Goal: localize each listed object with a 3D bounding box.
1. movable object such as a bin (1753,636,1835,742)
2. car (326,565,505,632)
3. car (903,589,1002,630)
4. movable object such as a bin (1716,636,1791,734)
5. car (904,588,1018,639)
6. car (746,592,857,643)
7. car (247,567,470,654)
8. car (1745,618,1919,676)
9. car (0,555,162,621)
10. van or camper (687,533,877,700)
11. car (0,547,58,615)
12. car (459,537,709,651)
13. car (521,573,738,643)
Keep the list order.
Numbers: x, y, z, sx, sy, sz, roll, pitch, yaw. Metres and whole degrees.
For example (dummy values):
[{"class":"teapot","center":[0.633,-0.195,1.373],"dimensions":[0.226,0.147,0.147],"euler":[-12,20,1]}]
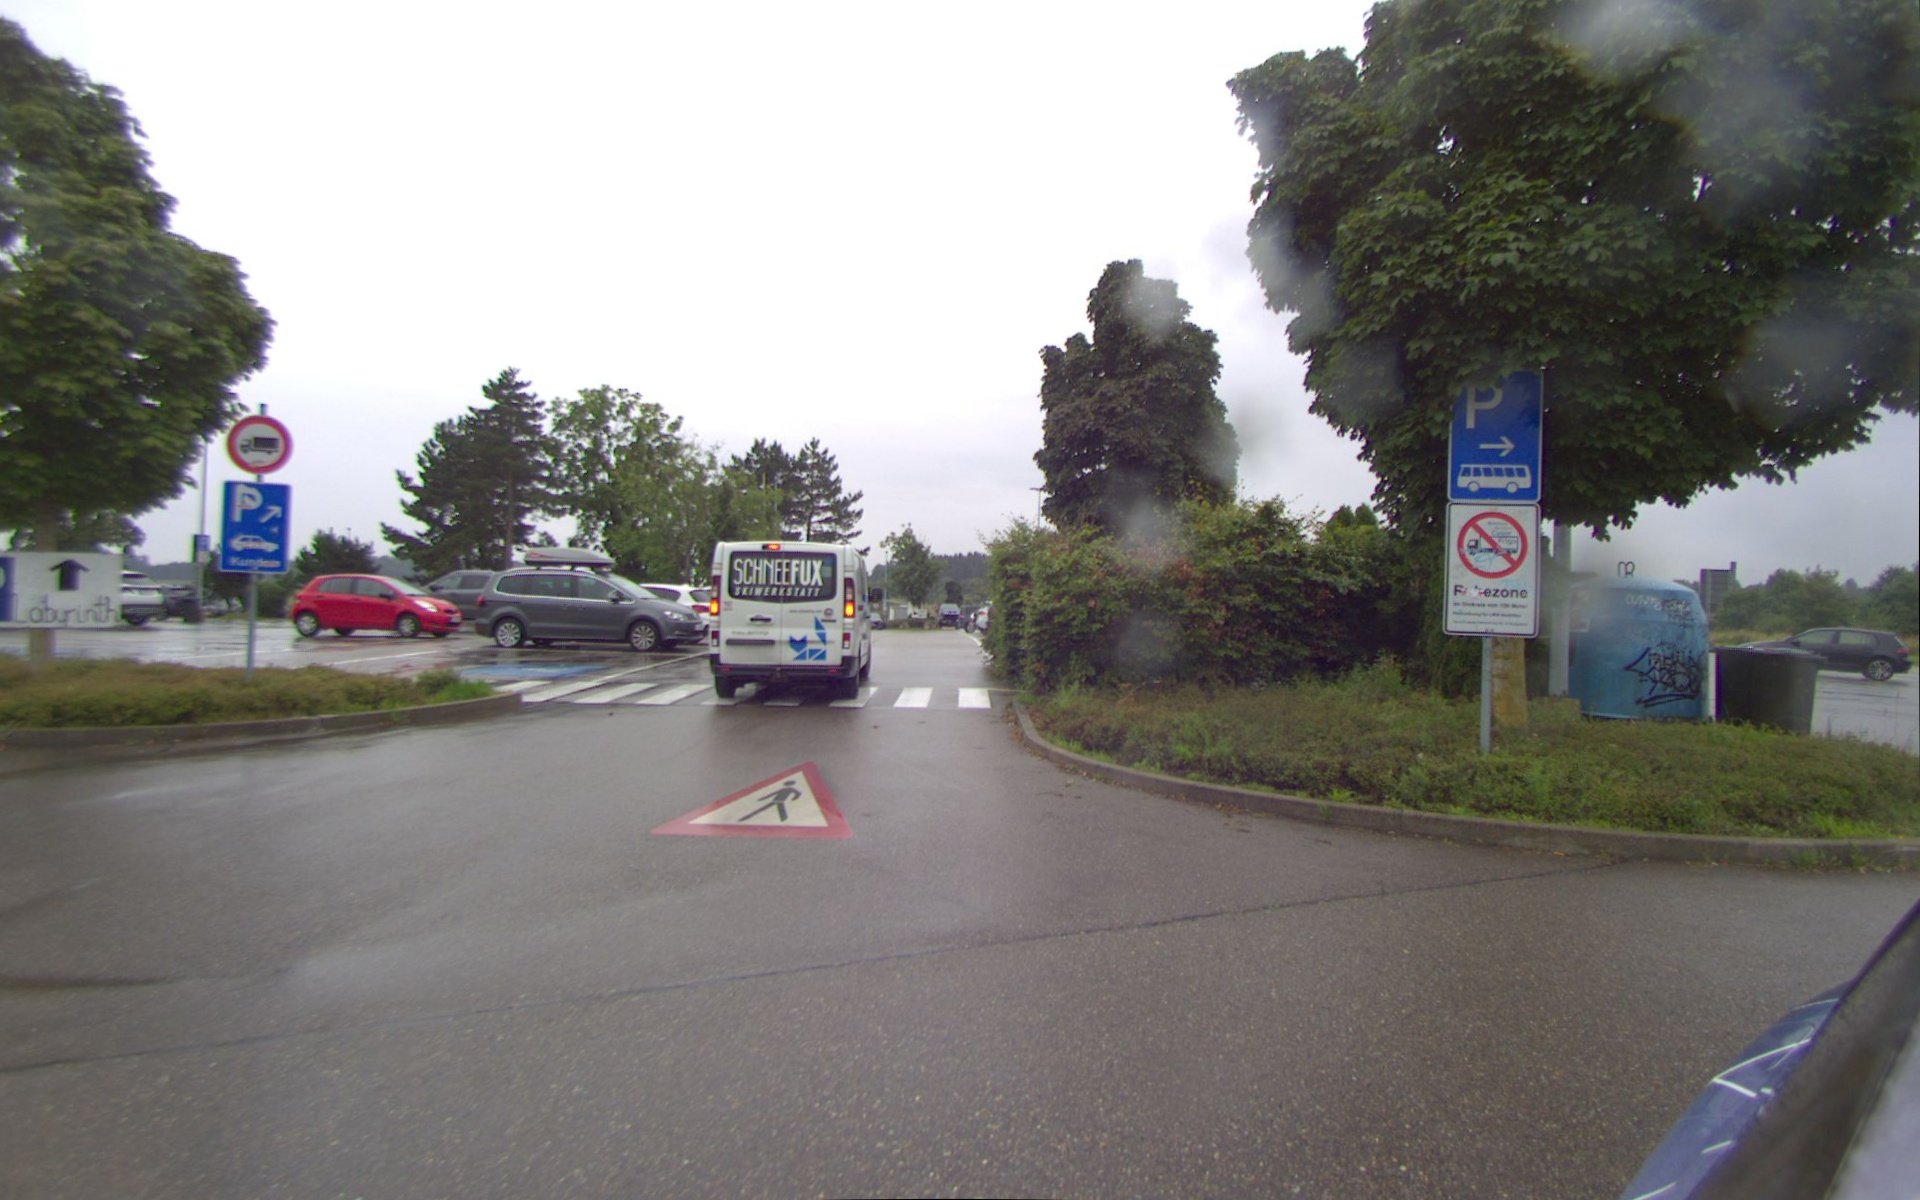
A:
[{"class":"movable object such as a bin","center":[8.033,0.841,9.758],"dimensions":[0.445,0.950,0.485],"euler":[3,0,21]},{"class":"car","center":[-16.298,-0.060,30.437],"dimensions":[4.315,1.800,1.926],"euler":[2,1,-2]},{"class":"car","center":[-0.290,0.381,42.518],"dimensions":[4.017,1.516,1.766],"euler":[2,1,1]},{"class":"movable object such as a bin","center":[8.078,0.850,10.312],"dimensions":[0.445,0.928,0.485],"euler":[3,0,21]},{"class":"car","center":[0.031,0.472,37.127],"dimensions":[4.017,1.648,1.786],"euler":[2,1,1]},{"class":"car","center":[-7.142,0.772,45.965],"dimensions":[4.679,2.107,2.000],"euler":[2,1,1]},{"class":"car","center":[-14.726,0.230,24.972],"dimensions":[4.315,1.909,1.926],"euler":[2,1,-2]},{"class":"car","center":[26.530,1.379,30.807],"dimensions":[4.055,1.451,1.756],"euler":[3,1,37]},{"class":"car","center":[-25.781,-0.369,29.435],"dimensions":[3.978,1.714,1.710],"euler":[2,1,6]},{"class":"van or camper","center":[-2.330,0.190,14.660],"dimensions":[2.151,1.970,5.201],"euler":[1,0,-4]},{"class":"car","center":[-26.266,-0.566,26.393],"dimensions":[3.974,1.714,1.798],"euler":[2,1,3]},{"class":"car","center":[-8.080,-0.150,22.052],"dimensions":[4.679,2.215,2.000],"euler":[2,1,1]},{"class":"car","center":[-7.997,0.168,24.771],"dimensions":[4.679,1.490,1.886],"euler":[2,1,1]}]
